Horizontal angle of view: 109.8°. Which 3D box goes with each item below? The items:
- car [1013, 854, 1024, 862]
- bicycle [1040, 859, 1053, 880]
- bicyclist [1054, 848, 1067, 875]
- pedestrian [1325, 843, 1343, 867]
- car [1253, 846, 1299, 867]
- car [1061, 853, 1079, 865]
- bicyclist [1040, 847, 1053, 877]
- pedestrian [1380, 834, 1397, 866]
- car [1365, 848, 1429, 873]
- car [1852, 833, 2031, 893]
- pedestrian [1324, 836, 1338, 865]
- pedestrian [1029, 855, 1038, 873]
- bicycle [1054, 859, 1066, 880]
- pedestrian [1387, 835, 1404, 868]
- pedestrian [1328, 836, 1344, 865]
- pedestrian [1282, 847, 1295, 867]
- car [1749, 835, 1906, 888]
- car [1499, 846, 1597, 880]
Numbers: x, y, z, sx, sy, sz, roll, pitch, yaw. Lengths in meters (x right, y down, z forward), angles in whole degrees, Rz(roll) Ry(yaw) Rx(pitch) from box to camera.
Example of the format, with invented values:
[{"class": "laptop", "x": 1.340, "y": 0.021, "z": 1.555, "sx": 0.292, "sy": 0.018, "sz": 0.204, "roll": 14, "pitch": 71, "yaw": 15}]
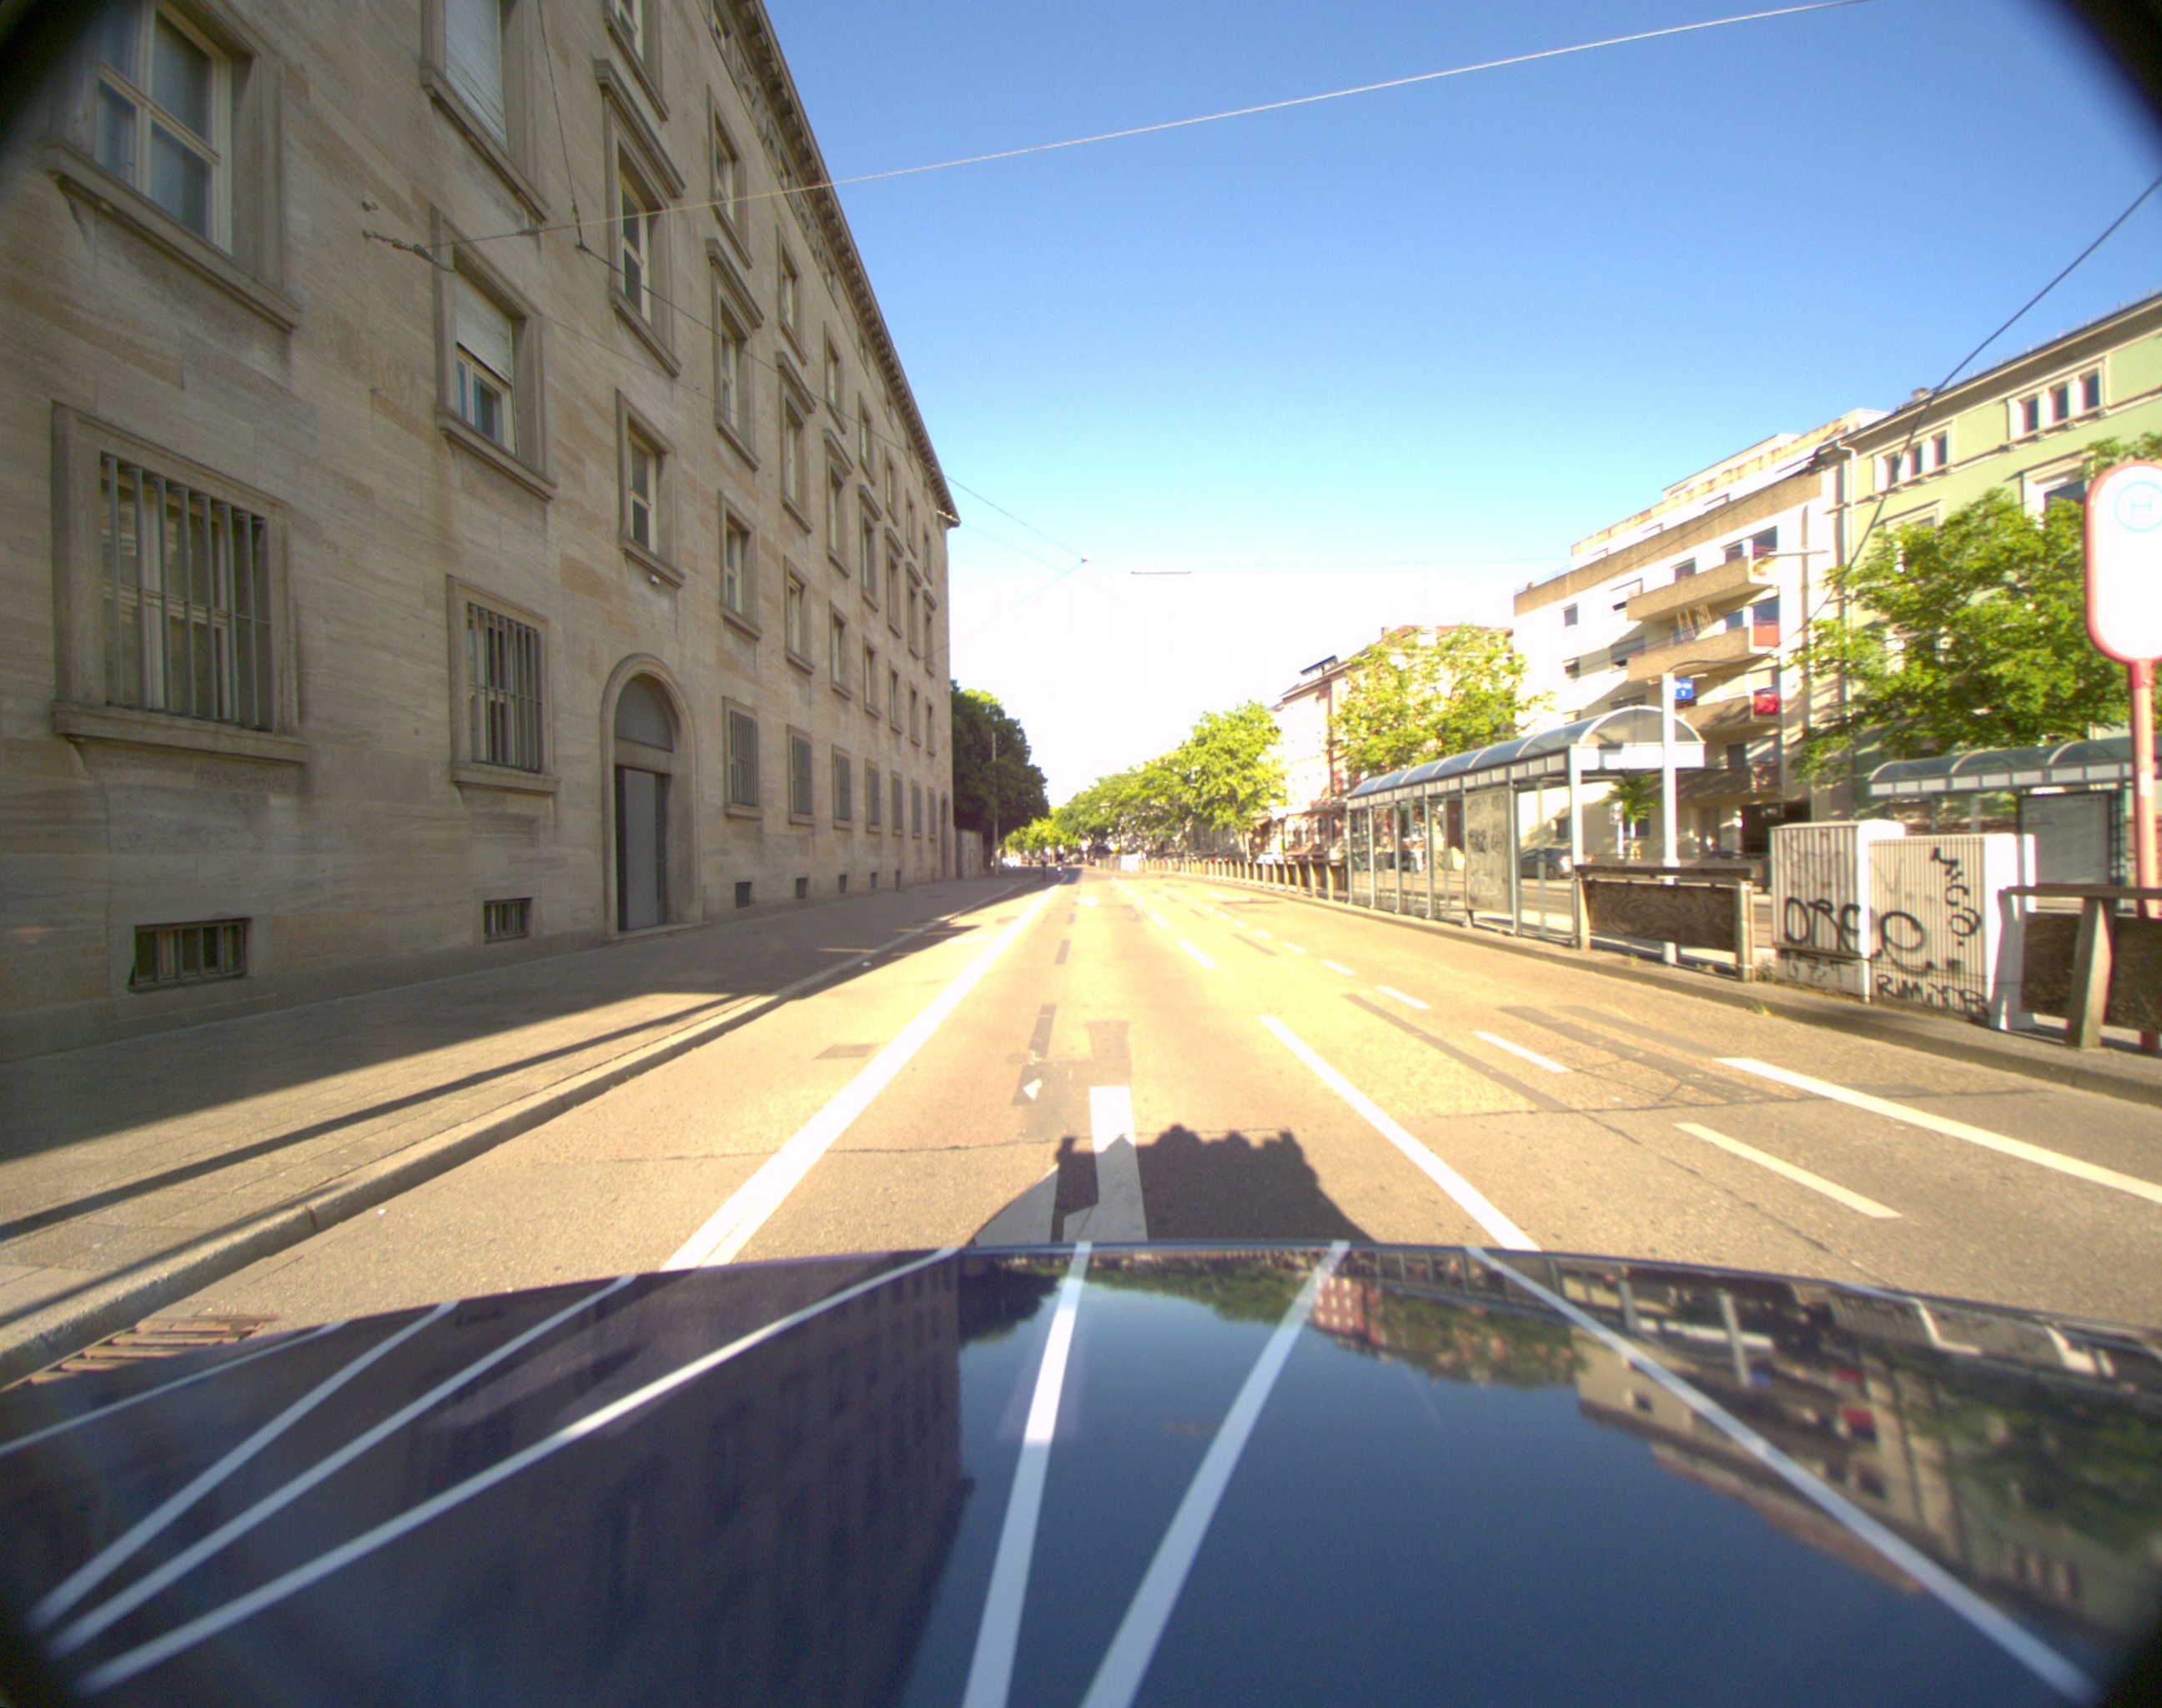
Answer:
[{"class": "car", "x": -10.756, "y": 0.672, "z": 131.214, "sx": 1.772, "sy": 1.429, "sz": 3.831, "roll": -1, "pitch": 0, "yaw": -7}, {"class": "bicycle", "x": -2.057, "y": 0.936, "z": 45.835, "sx": 0.625, "sy": 1.214, "sz": 1.659, "roll": -3, "pitch": 1, "yaw": 1}, {"class": "bicyclist", "x": -1.222, "y": 0.424, "z": 44.782, "sx": 0.728, "sy": 1.570, "sz": 0.775, "roll": -1, "pitch": 1, "yaw": 1}, {"class": "pedestrian", "x": 18.448, "y": 0.056, "z": 55.427, "sx": 0.855, "sy": 1.710, "sz": 1.019, "roll": -1, "pitch": 1, "yaw": -9}, {"class": "car", "x": 16.333, "y": 0.211, "z": 63.670, "sx": 4.134, "sy": 1.698, "sz": 1.848, "roll": -1, "pitch": 1, "yaw": -45}, {"class": "car", "x": -1.738, "y": 0.782, "z": 117.348, "sx": 2.001, "sy": 1.789, "sz": 3.995, "roll": -1, "pitch": 0, "yaw": -13}, {"class": "bicyclist", "x": -2.080, "y": 0.474, "z": 46.048, "sx": 0.625, "sy": 1.729, "sz": 0.688, "roll": -3, "pitch": 1, "yaw": 1}, {"class": "pedestrian", "x": 21.209, "y": -0.280, "z": 52.436, "sx": 0.813, "sy": 2.194, "sz": 0.756, "roll": -1, "pitch": 1, "yaw": -10}, {"class": "car", "x": 18.476, "y": 0.363, "z": 44.669, "sx": 1.609, "sy": 1.388, "sz": 3.996, "roll": -1, "pitch": 0, "yaw": -9}, {"class": "car", "x": 24.612, "y": 0.219, "z": 21.765, "sx": 4.002, "sy": 1.573, "sz": 1.761, "roll": -1, "pitch": 0, "yaw": -14}, {"class": "pedestrian", "x": 19.484, "y": -0.290, "z": 59.249, "sx": 0.812, "sy": 2.194, "sz": 0.756, "roll": -1, "pitch": 1, "yaw": -4}, {"class": "pedestrian", "x": -3.682, "y": 0.765, "z": 58.780, "sx": 0.548, "sy": 1.327, "sz": 0.587, "roll": -1, "pitch": 1, "yaw": 7}, {"class": "bicycle", "x": -1.214, "y": 0.914, "z": 44.889, "sx": 0.625, "sy": 1.167, "sz": 1.566, "roll": -1, "pitch": 0, "yaw": 1}, {"class": "pedestrian", "x": 21.292, "y": -0.185, "z": 51.451, "sx": 0.813, "sy": 2.194, "sz": 0.756, "roll": -1, "pitch": 1, "yaw": -10}, {"class": "pedestrian", "x": 19.378, "y": -0.269, "z": 57.752, "sx": 0.813, "sy": 2.194, "sz": 0.756, "roll": -1, "pitch": 1, "yaw": -10}, {"class": "pedestrian", "x": 16.872, "y": 0.241, "z": 61.834, "sx": 0.866, "sy": 1.619, "sz": 0.893, "roll": -1, "pitch": 1, "yaw": 21}, {"class": "car", "x": 23.839, "y": 0.220, "z": 24.296, "sx": 4.002, "sy": 1.573, "sz": 1.761, "roll": -1, "pitch": 0, "yaw": -14}, {"class": "car", "x": 20.882, "y": 0.362, "z": 34.173, "sx": 1.654, "sy": 1.419, "sz": 3.737, "roll": -1, "pitch": 0, "yaw": -11}]
